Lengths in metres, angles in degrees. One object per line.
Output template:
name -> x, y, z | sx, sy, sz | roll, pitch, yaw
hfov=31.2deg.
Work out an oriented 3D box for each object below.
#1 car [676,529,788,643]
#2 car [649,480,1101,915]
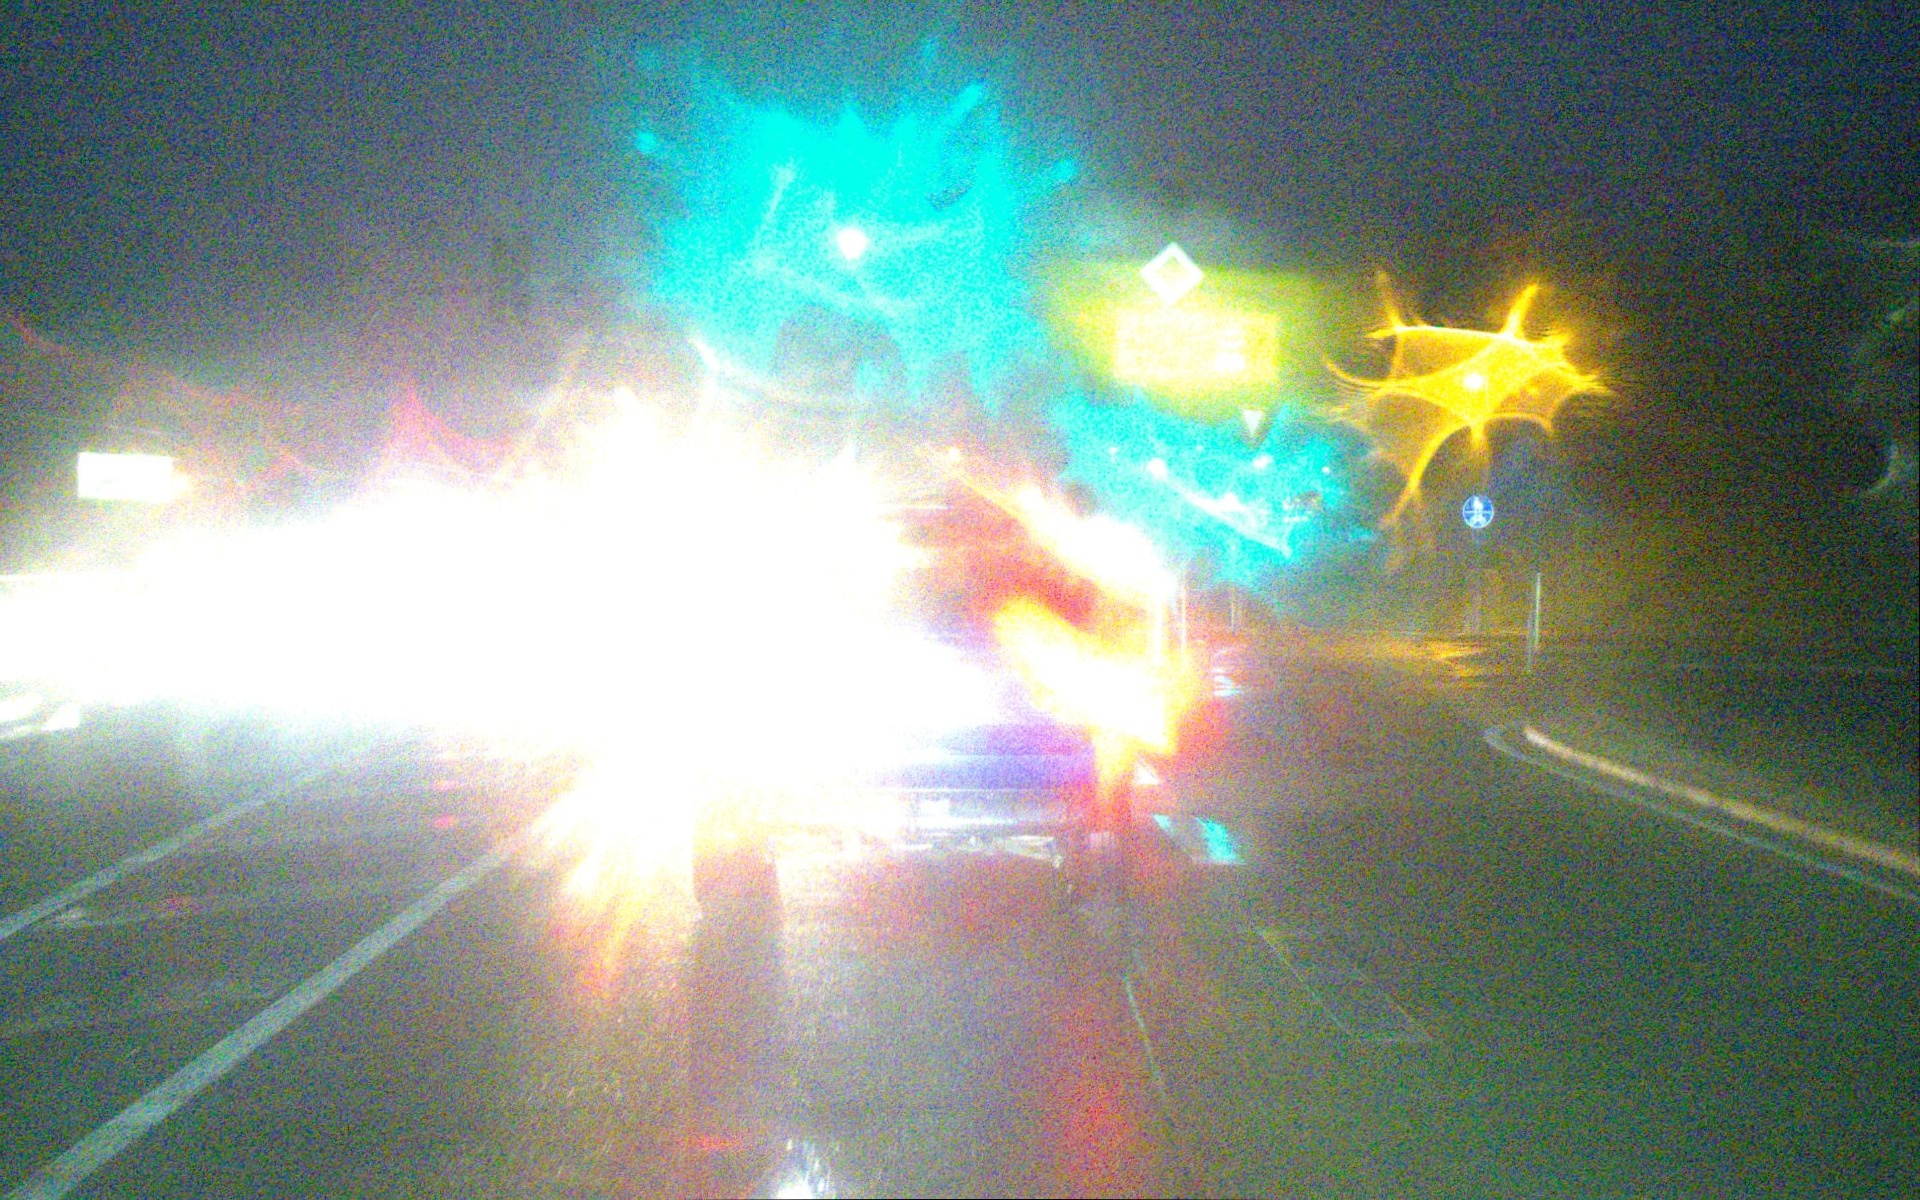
car -> -4.346, -0.237, 64.995 | 1.993, 2.007, 4.000 | -1, -2, -5
car -> -0.409, 0.370, 15.648 | 1.775, 1.706, 4.000 | 1, 1, -2
